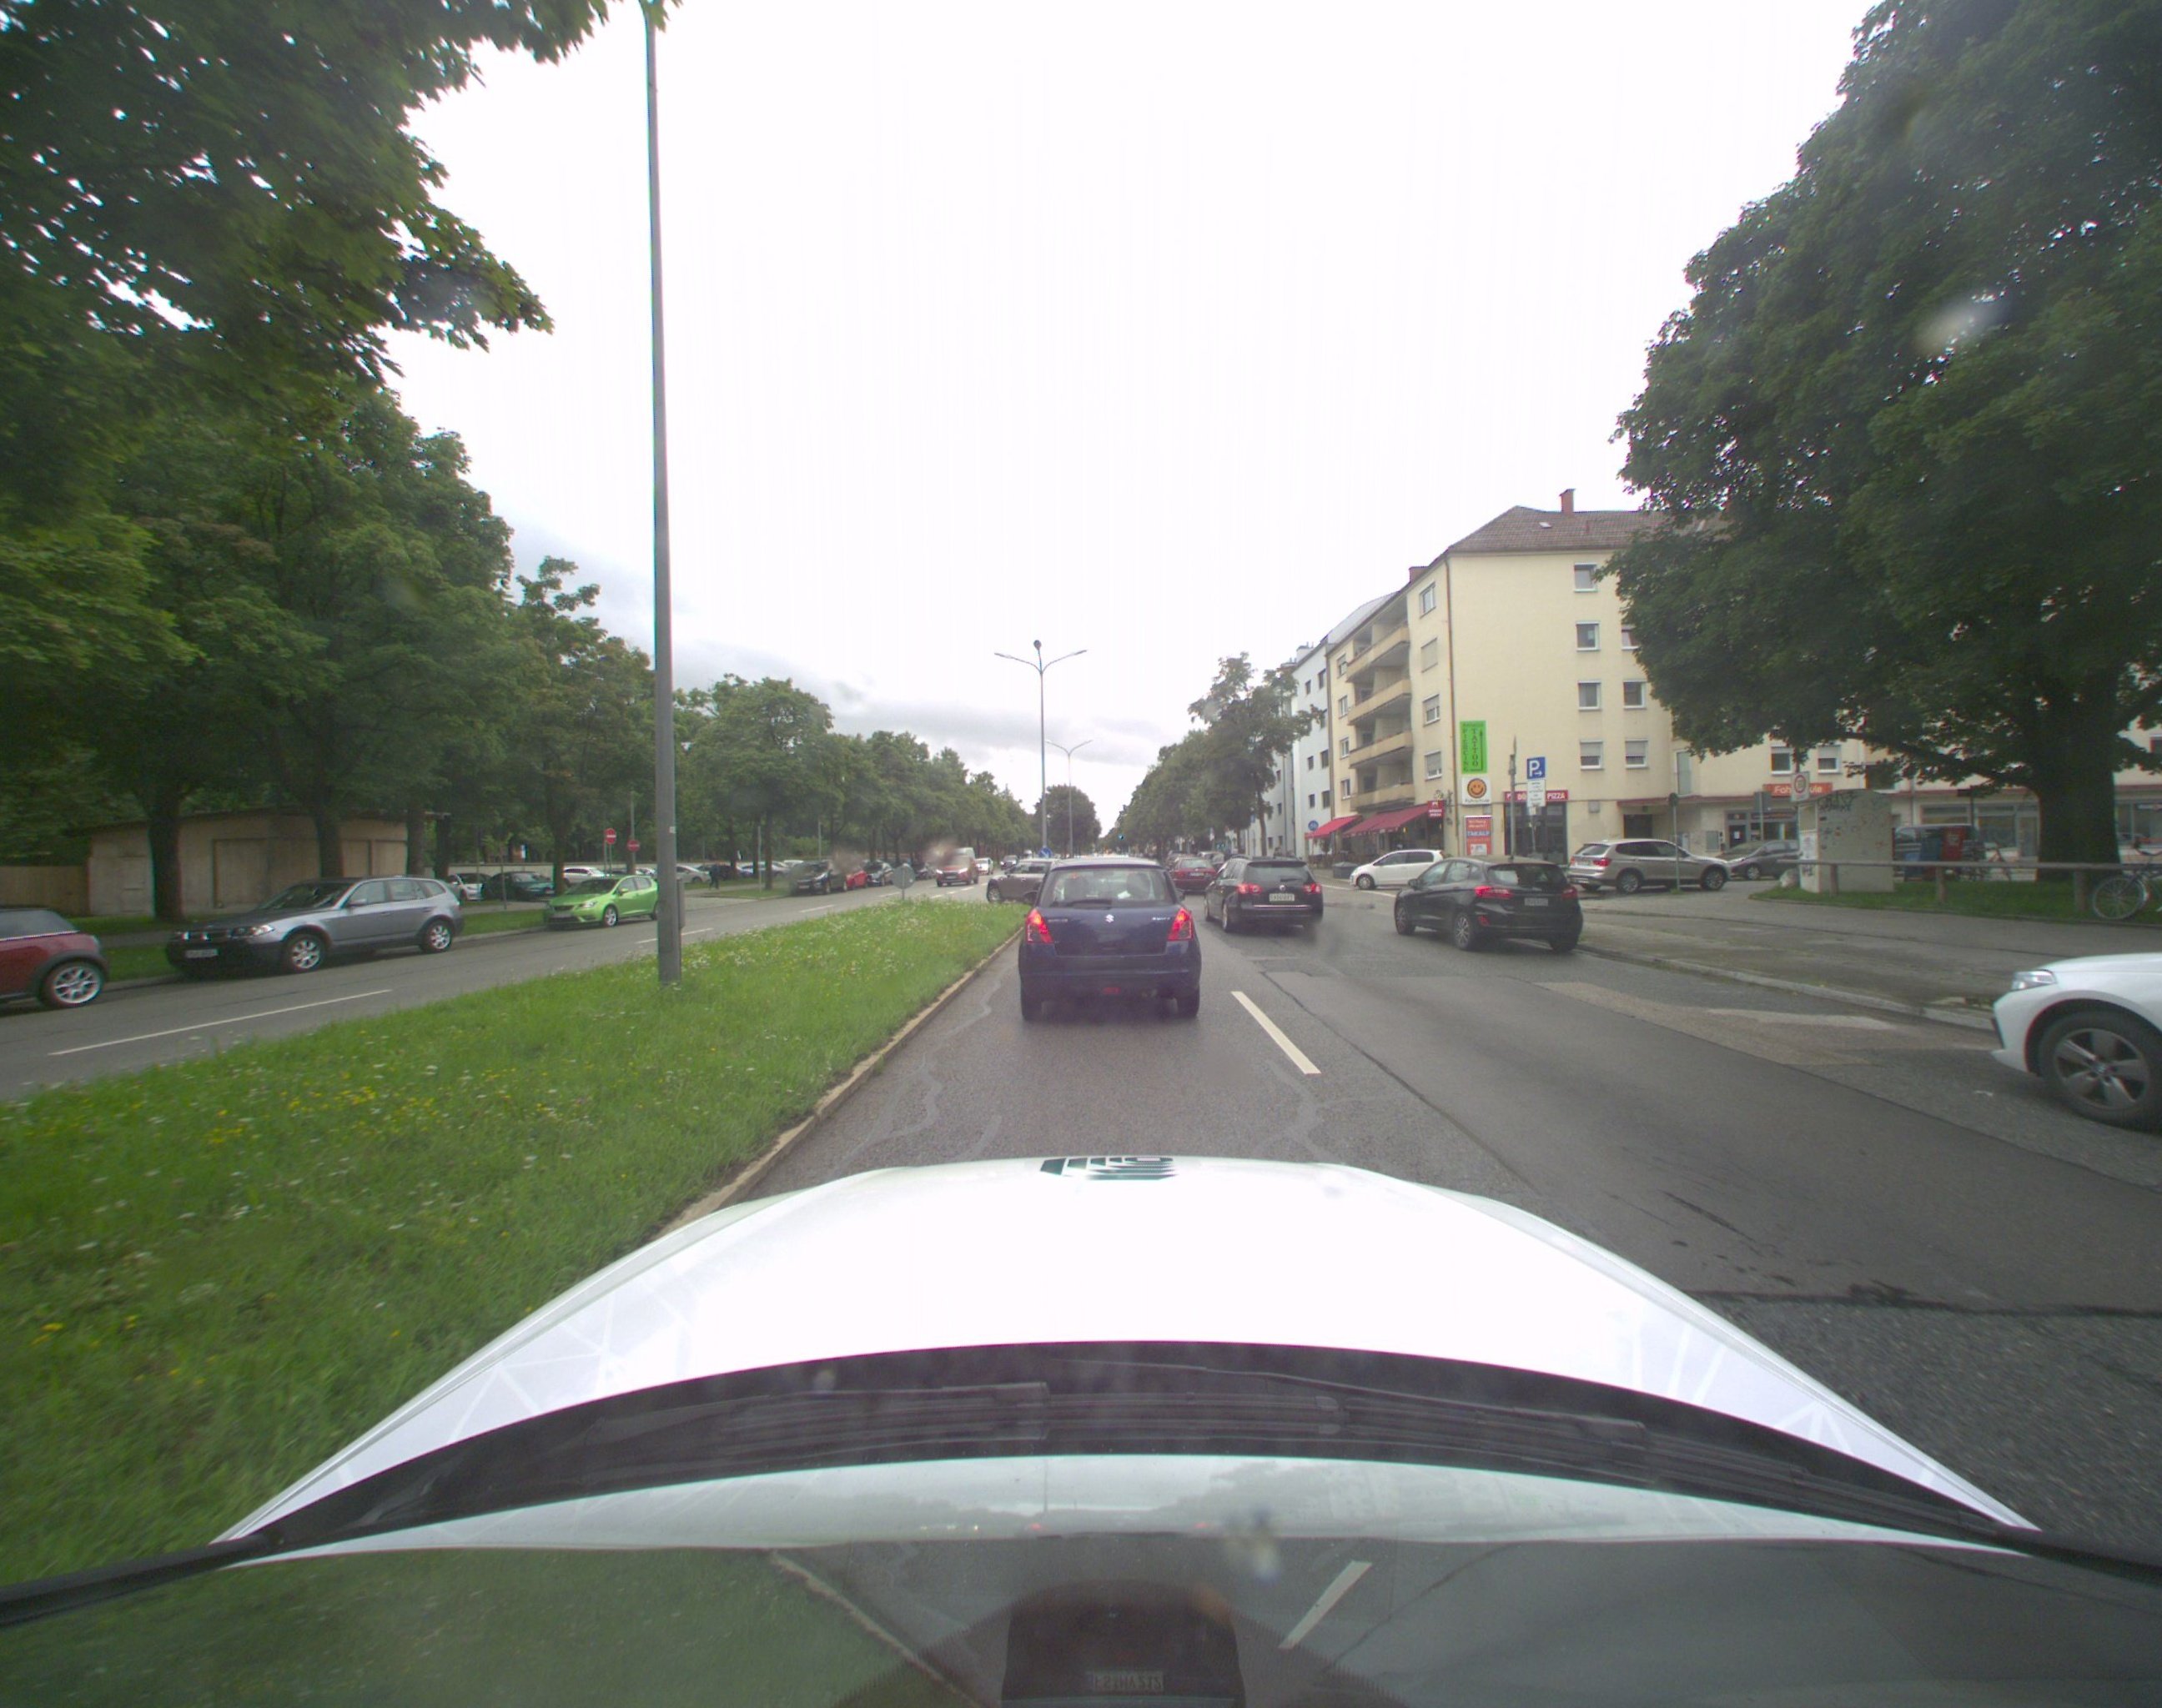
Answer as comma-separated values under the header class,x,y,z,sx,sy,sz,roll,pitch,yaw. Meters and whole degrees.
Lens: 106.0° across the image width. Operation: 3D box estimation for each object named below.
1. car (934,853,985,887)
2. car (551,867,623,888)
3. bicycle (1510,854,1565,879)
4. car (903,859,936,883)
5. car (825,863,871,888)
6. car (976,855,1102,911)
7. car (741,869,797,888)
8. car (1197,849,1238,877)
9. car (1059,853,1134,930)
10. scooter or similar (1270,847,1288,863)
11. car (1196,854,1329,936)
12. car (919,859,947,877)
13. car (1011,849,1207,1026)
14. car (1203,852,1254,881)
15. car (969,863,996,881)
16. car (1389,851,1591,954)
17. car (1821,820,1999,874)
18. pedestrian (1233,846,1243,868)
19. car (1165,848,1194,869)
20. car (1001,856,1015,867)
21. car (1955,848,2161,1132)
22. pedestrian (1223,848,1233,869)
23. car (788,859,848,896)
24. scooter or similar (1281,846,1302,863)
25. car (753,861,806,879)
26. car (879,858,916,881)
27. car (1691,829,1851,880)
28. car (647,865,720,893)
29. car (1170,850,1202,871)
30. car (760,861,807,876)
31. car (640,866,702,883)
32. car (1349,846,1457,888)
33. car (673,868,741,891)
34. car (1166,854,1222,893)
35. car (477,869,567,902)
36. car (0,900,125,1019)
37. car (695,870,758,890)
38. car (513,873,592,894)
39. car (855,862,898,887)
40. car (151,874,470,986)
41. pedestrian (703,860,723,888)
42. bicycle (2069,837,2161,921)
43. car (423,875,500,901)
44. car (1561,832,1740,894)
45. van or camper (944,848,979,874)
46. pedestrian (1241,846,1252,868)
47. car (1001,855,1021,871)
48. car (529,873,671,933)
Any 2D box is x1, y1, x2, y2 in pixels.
class,x,y,z,sx,sy,sz,roll,pitch,yaw
car,-6.654,0.831,44.939,1.896,1.696,4.247,-4,0,2
car,-37.614,1.766,62.029,4.489,1.476,1.673,-1,-1,2
bicycle,18.098,0.506,32.309,1.841,0.957,0.557,-1,0,0
car,-12.436,1.310,62.893,1.627,1.741,3.879,-1,0,1
car,-13.186,1.182,46.308,1.585,1.312,3.381,-1,0,1
car,-1.300,0.806,23.935,1.697,1.463,3.688,-1,0,-44
car,-25.146,1.940,65.756,3.858,1.445,1.670,-1,0,-4
car,8.141,0.521,48.792,1.785,1.558,4.225,-2,0,1
car,0.328,0.729,17.629,1.439,1.483,3.106,-1,0,1
scooter or similar,17.014,0.057,70.041,1.028,1.307,2.757,-2,0,2
car,3.531,0.727,16.650,1.725,1.432,4.441,0,0,0
car,-12.372,1.186,68.231,1.627,1.431,3.879,-1,0,1
car,0.266,0.717,9.052,1.676,1.502,3.919,-1,0,1
car,7.906,0.620,44.103,1.860,1.417,4.222,-2,0,-2
car,-8.452,1.510,70.097,1.612,1.375,3.839,-3,0,1
car,6.604,0.705,13.599,1.611,1.465,3.675,0,0,1
car,30.881,-0.251,30.439,4.720,1.773,1.871,-2,0,0
pedestrian,15.095,0.284,78.268,0.791,2.013,1.006,-2,0,2
car,8.050,0.347,66.990,1.859,1.682,4.224,-2,0,0
car,-10.795,1.120,120.948,1.627,1.583,3.879,-1,0,1
car,6.422,0.719,3.164,1.676,1.465,4.138,1,0,1
pedestrian,14.144,0.421,78.318,0.791,2.013,1.006,-2,0,2
car,-13.177,1.161,41.064,1.710,1.741,3.879,-1,0,1
scooter or similar,17.103,0.037,66.230,1.028,1.307,2.757,-2,0,2
car,-25.503,1.332,68.937,3.858,1.445,1.670,-1,0,-4
car,-12.675,1.062,56.519,1.585,1.558,3.879,-1,0,1
car,25.406,0.016,30.089,4.381,1.661,1.870,-2,0,-2
car,-25.943,1.606,53.210,3.911,1.718,1.670,-1,0,-4
car,7.938,0.463,62.152,1.859,1.517,4.224,-2,0,0
car,-28.458,1.371,77.874,3.858,1.445,1.670,-1,0,-4
car,-36.635,1.788,72.809,4.673,1.445,1.673,-1,0,2
car,11.967,0.496,30.220,3.515,1.417,1.883,-2,0,27
car,-25.691,1.750,56.043,3.858,1.445,1.670,-1,0,-4
car,4.223,0.700,31.024,1.676,1.383,3.920,0,0,1
car,-26.117,1.454,38.016,4.363,1.445,1.973,-1,-1,33
car,-14.167,1.386,9.495,1.584,1.397,3.634,-3,0,3
car,-26.116,1.907,60.047,3.858,1.445,1.670,-1,0,-4
car,-38.489,2.136,59.389,4.671,1.445,1.674,-1,0,3
car,-12.779,1.252,51.077,1.661,1.445,3.879,-1,0,1
car,-14.030,1.277,15.284,1.685,1.586,4.371,-3,0,1
pedestrian,-20.393,1.122,45.140,0.725,1.534,0.721,-1,0,2
bicycle,14.282,0.325,10.701,0.387,1.105,1.855,-1,0,2
car,-30.961,1.661,40.671,4.363,1.201,1.683,-1,-1,33
car,17.786,0.237,25.541,4.383,1.660,1.870,-2,2,-3
van or camper,-12.029,0.727,82.417,2.108,2.482,7.453,-1,0,3
pedestrian,15.909,0.275,78.300,0.791,2.013,1.006,-2,0,2
car,-8.063,0.997,94.027,1.760,1.623,4.508,-3,0,1
car,-13.781,1.360,23.616,1.541,1.409,3.883,-3,0,4
